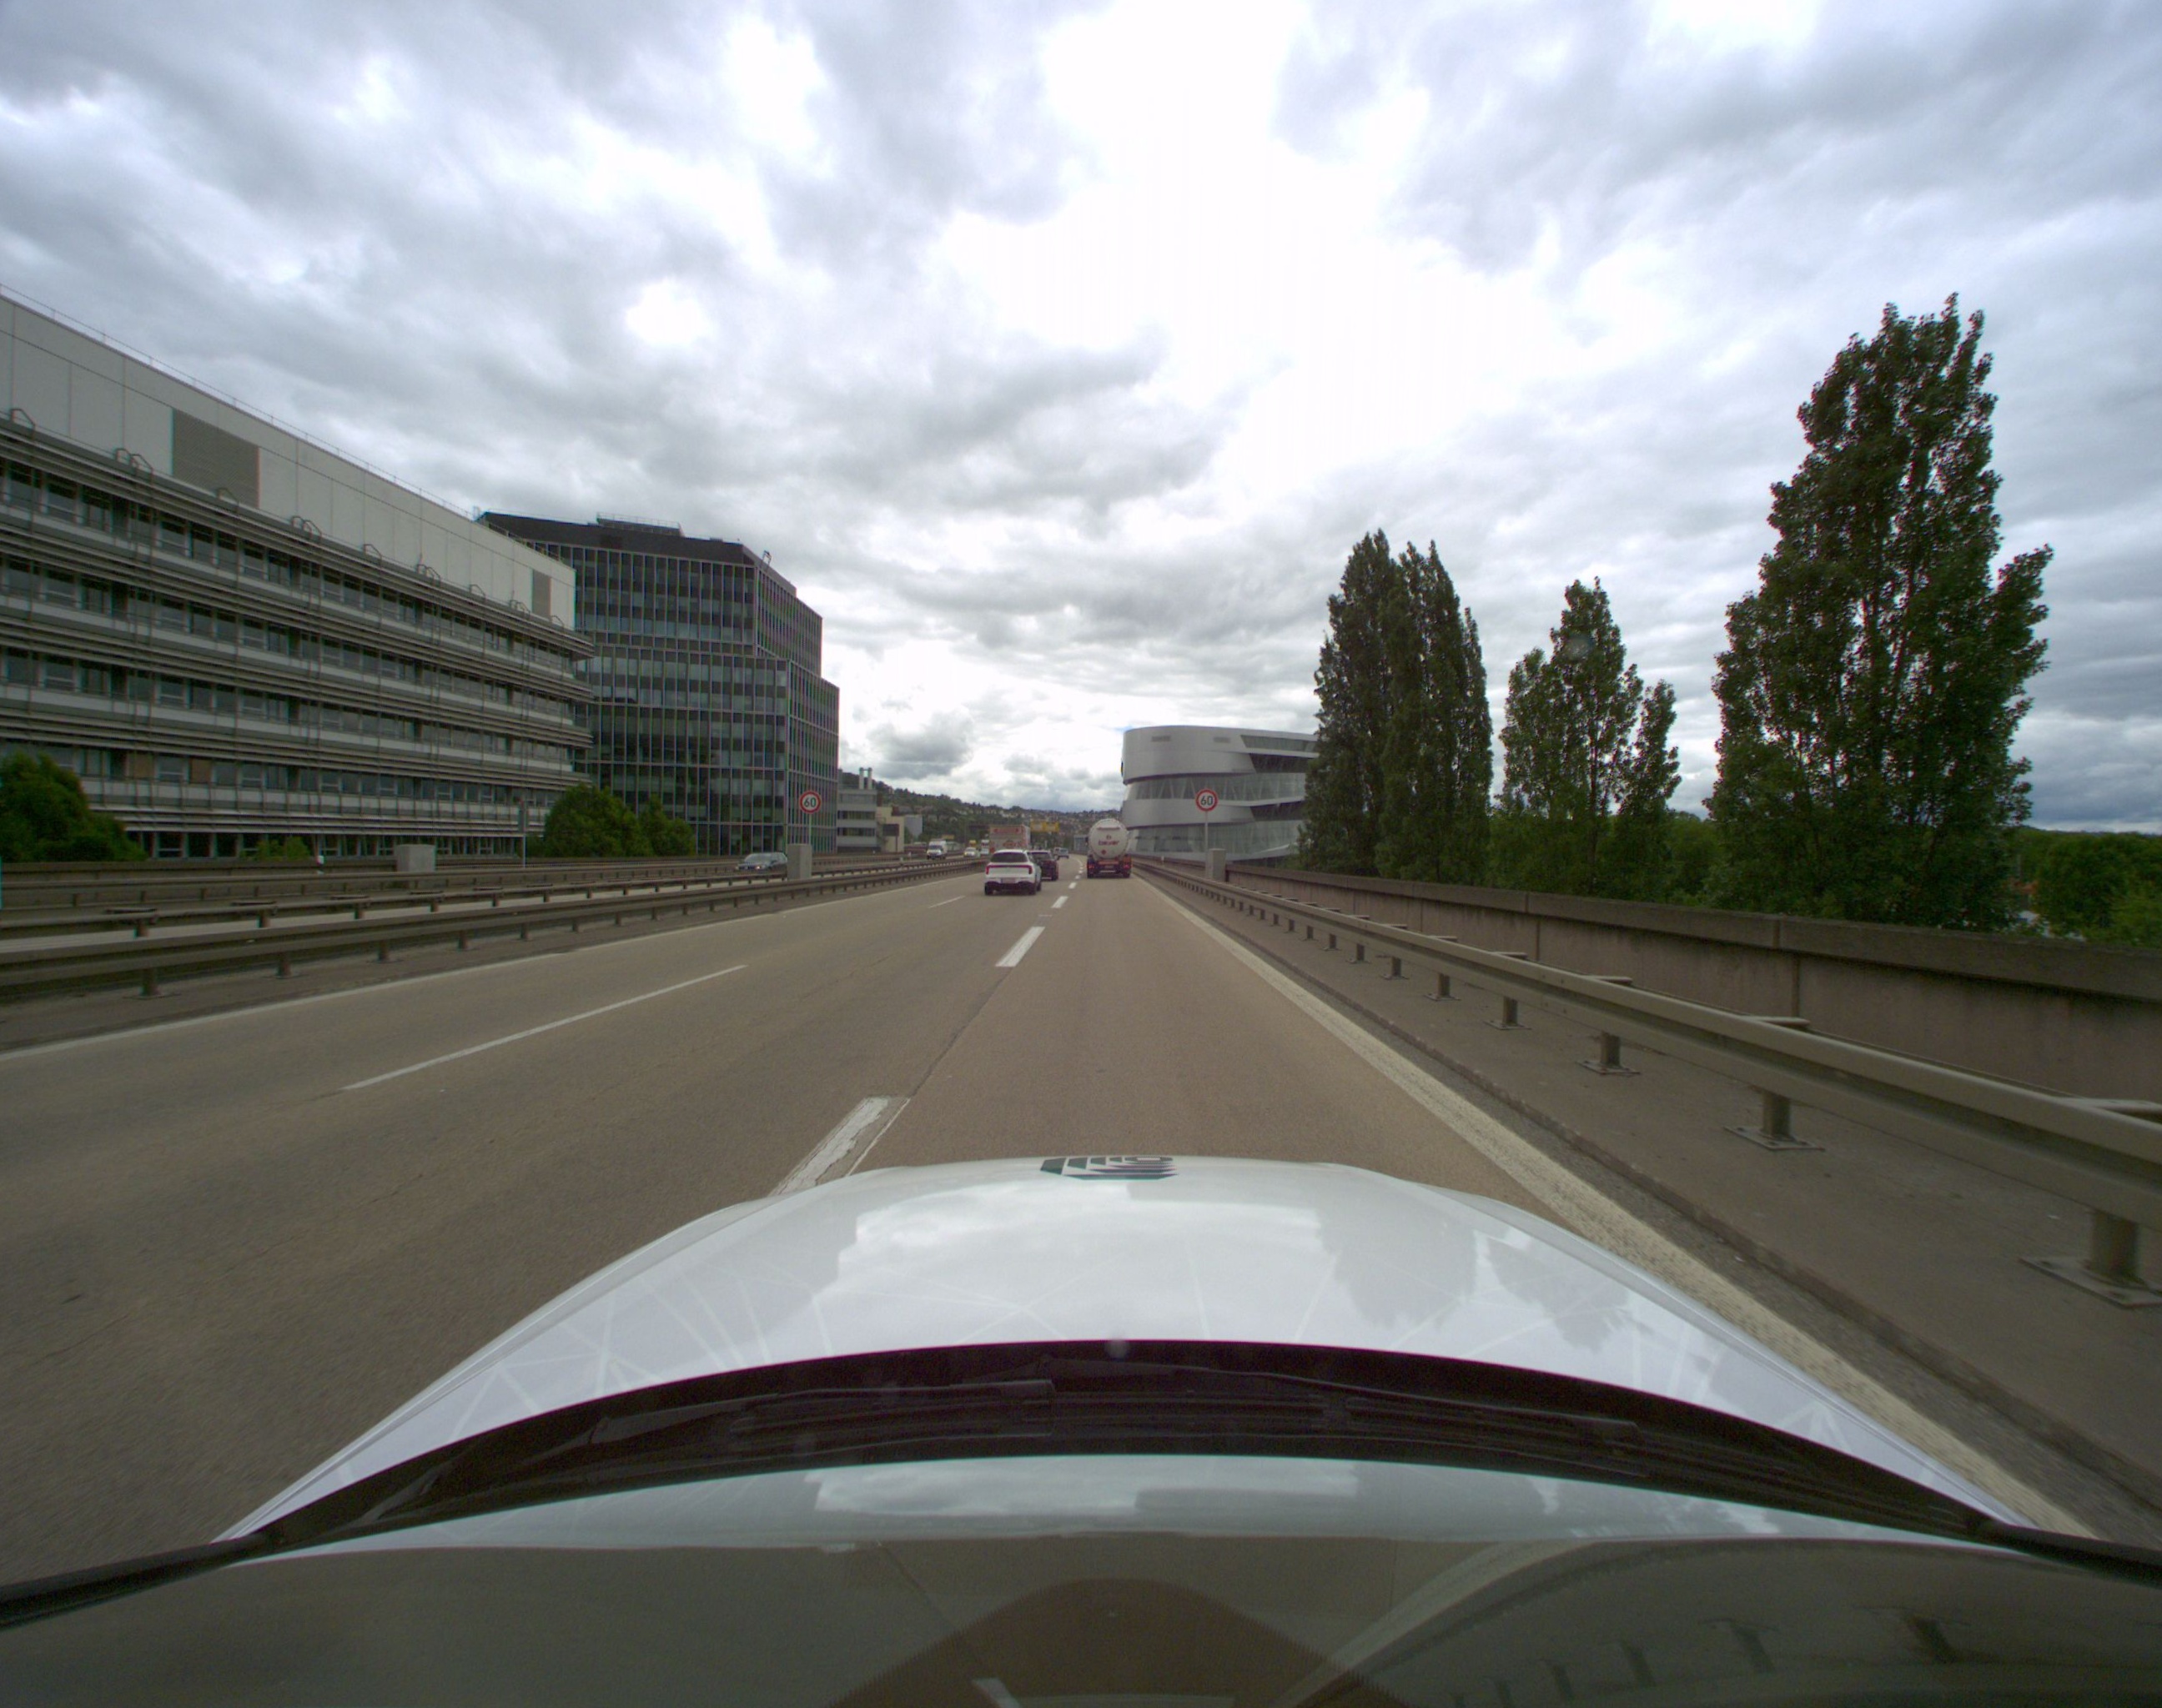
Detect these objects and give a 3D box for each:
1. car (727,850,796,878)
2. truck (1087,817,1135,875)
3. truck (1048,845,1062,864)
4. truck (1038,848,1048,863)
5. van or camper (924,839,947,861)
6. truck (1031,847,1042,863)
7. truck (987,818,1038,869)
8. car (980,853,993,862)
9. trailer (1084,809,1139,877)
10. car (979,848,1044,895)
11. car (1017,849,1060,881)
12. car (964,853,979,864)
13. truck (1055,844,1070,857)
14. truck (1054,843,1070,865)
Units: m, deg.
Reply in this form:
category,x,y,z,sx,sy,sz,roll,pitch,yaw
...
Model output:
category,x,y,z,sx,sy,sz,roll,pitch,yaw
car,-16.693,0.500,42.789,1.780,1.377,4.231,1,0,2
truck,1.968,-0.472,54.919,3.004,3.657,6.274,0,0,1
truck,-6.395,0.140,200.962,3.051,4.562,8.292,0,0,-4
truck,-11.478,0.393,245.352,3.051,4.562,8.292,0,0,-4
van or camper,-20.648,-0.525,116.181,2.165,3.008,7.113,0,0,-1
truck,-12.513,0.304,228.214,3.051,4.562,8.292,0,0,-4
truck,-5.260,-0.759,64.133,3.045,3.690,8.306,0,0,2
car,-17.728,0.705,152.979,1.677,1.650,4.449,1,0,1
trailer,1.849,-0.585,49.652,3.045,3.790,8.306,0,0,2
car,-2.559,0.630,31.013,1.986,1.675,4.409,0,0,2
car,-2.241,0.584,44.242,1.986,1.675,4.409,0,0,2
car,-16.547,0.664,123.250,1.677,1.650,4.313,1,0,1
truck,-3.105,-0.581,137.051,2.248,2.164,5.068,0,0,1
truck,-4.109,0.003,176.506,3.051,4.562,8.292,0,0,-4
